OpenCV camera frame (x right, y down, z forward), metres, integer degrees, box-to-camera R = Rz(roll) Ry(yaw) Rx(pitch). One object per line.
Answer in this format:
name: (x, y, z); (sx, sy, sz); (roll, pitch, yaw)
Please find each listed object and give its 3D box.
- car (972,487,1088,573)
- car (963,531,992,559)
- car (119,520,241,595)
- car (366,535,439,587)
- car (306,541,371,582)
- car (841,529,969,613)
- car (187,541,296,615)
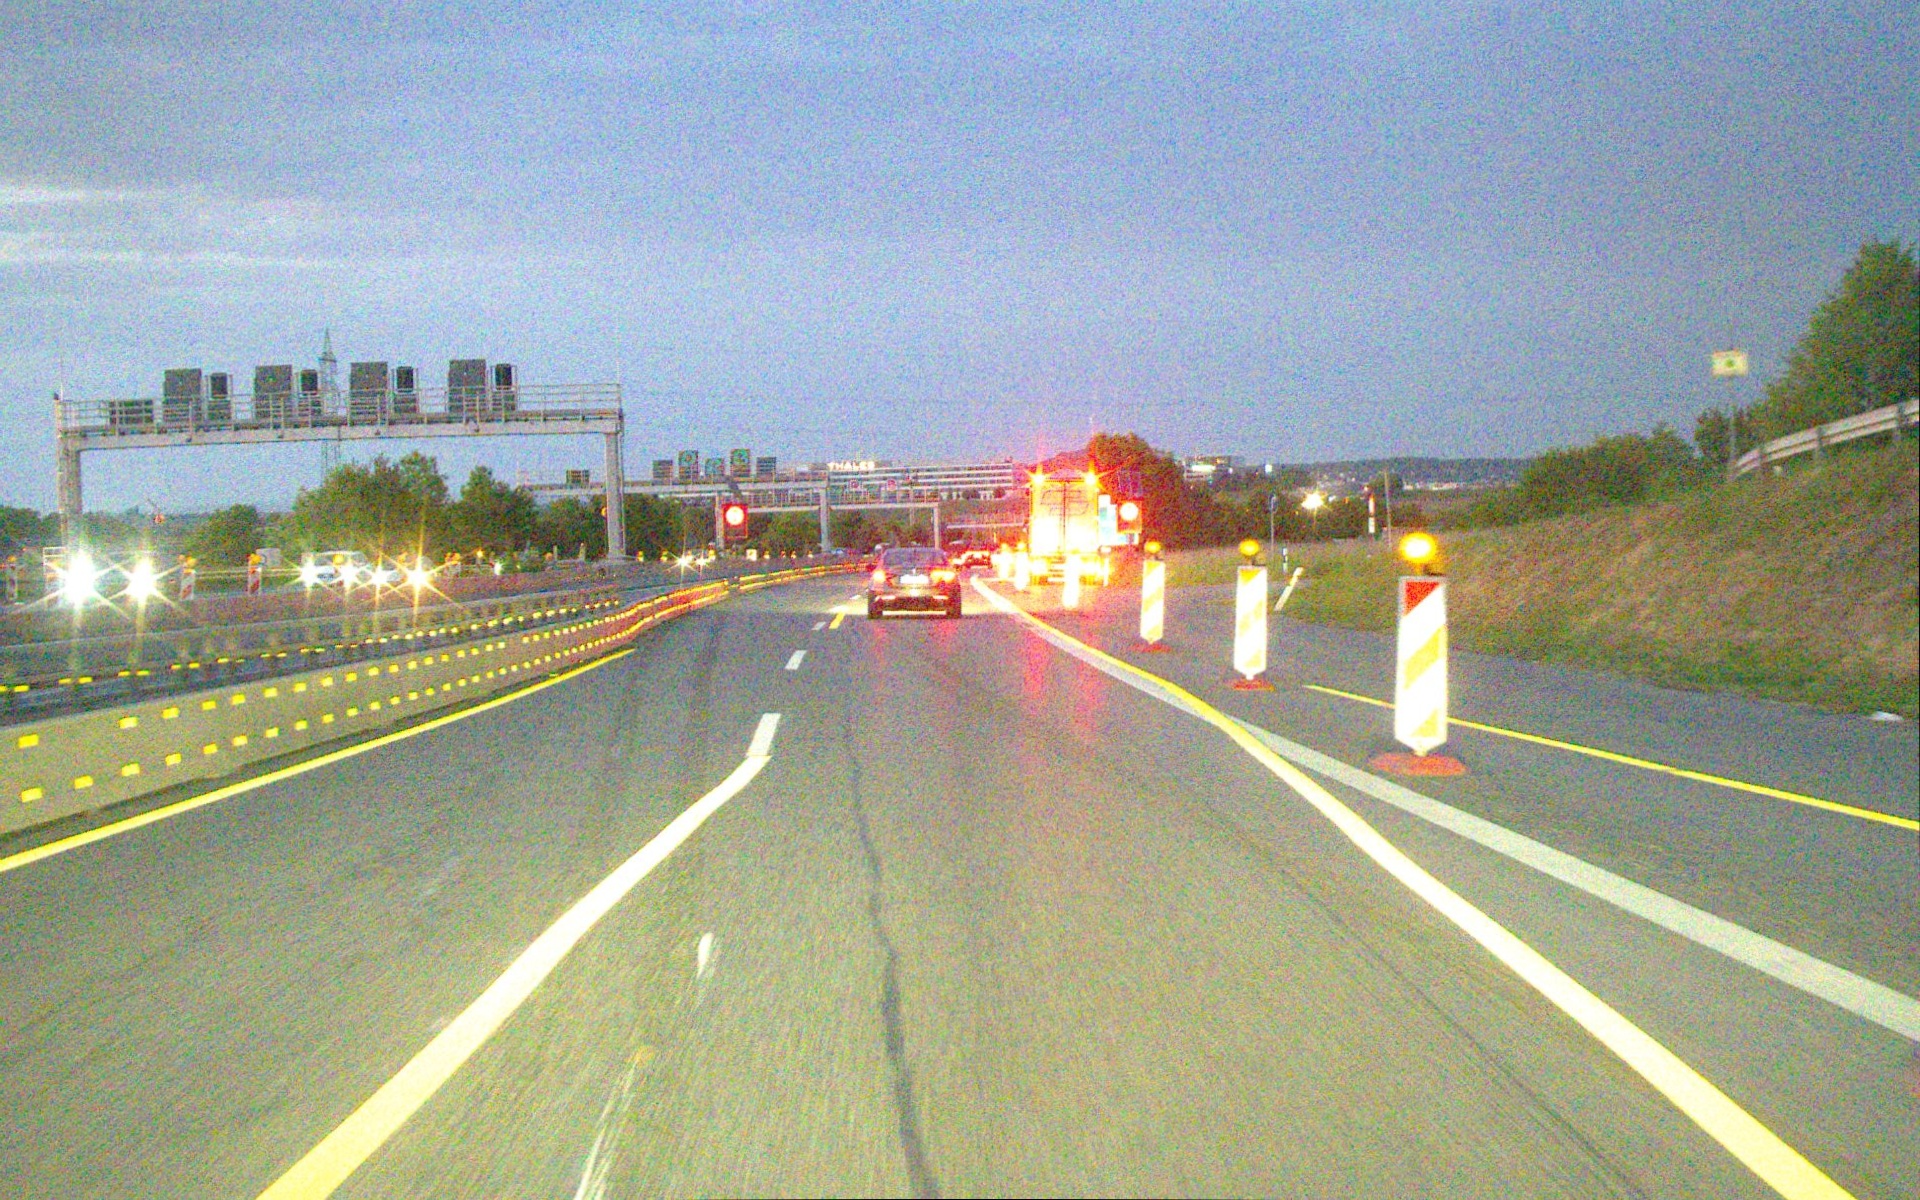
car: (2.794, -2.844, 140.490); (3.604, 3.384, 8.016); (1, 1, -7)
car: (1.252, -3.971, 248.928); (1.993, 2.007, 4.000); (1, 1, -1)
car: (-18.417, -1.016, 81.315); (1.993, 1.708, 4.000); (1, 1, -1)
car: (-19.550, -1.355, 120.761); (1.993, 1.693, 4.000); (-1, -1, -2)
car: (-22.400, -1.403, 124.088); (1.575, 1.425, 4.425); (1, 1, 0)
car: (-1.145, -0.604, 69.389); (2.265, 1.616, 4.001); (1, 1, -5)
car: (-18.452, -0.583, 88.398); (1.993, 1.821, 4.000); (1, 1, -1)
